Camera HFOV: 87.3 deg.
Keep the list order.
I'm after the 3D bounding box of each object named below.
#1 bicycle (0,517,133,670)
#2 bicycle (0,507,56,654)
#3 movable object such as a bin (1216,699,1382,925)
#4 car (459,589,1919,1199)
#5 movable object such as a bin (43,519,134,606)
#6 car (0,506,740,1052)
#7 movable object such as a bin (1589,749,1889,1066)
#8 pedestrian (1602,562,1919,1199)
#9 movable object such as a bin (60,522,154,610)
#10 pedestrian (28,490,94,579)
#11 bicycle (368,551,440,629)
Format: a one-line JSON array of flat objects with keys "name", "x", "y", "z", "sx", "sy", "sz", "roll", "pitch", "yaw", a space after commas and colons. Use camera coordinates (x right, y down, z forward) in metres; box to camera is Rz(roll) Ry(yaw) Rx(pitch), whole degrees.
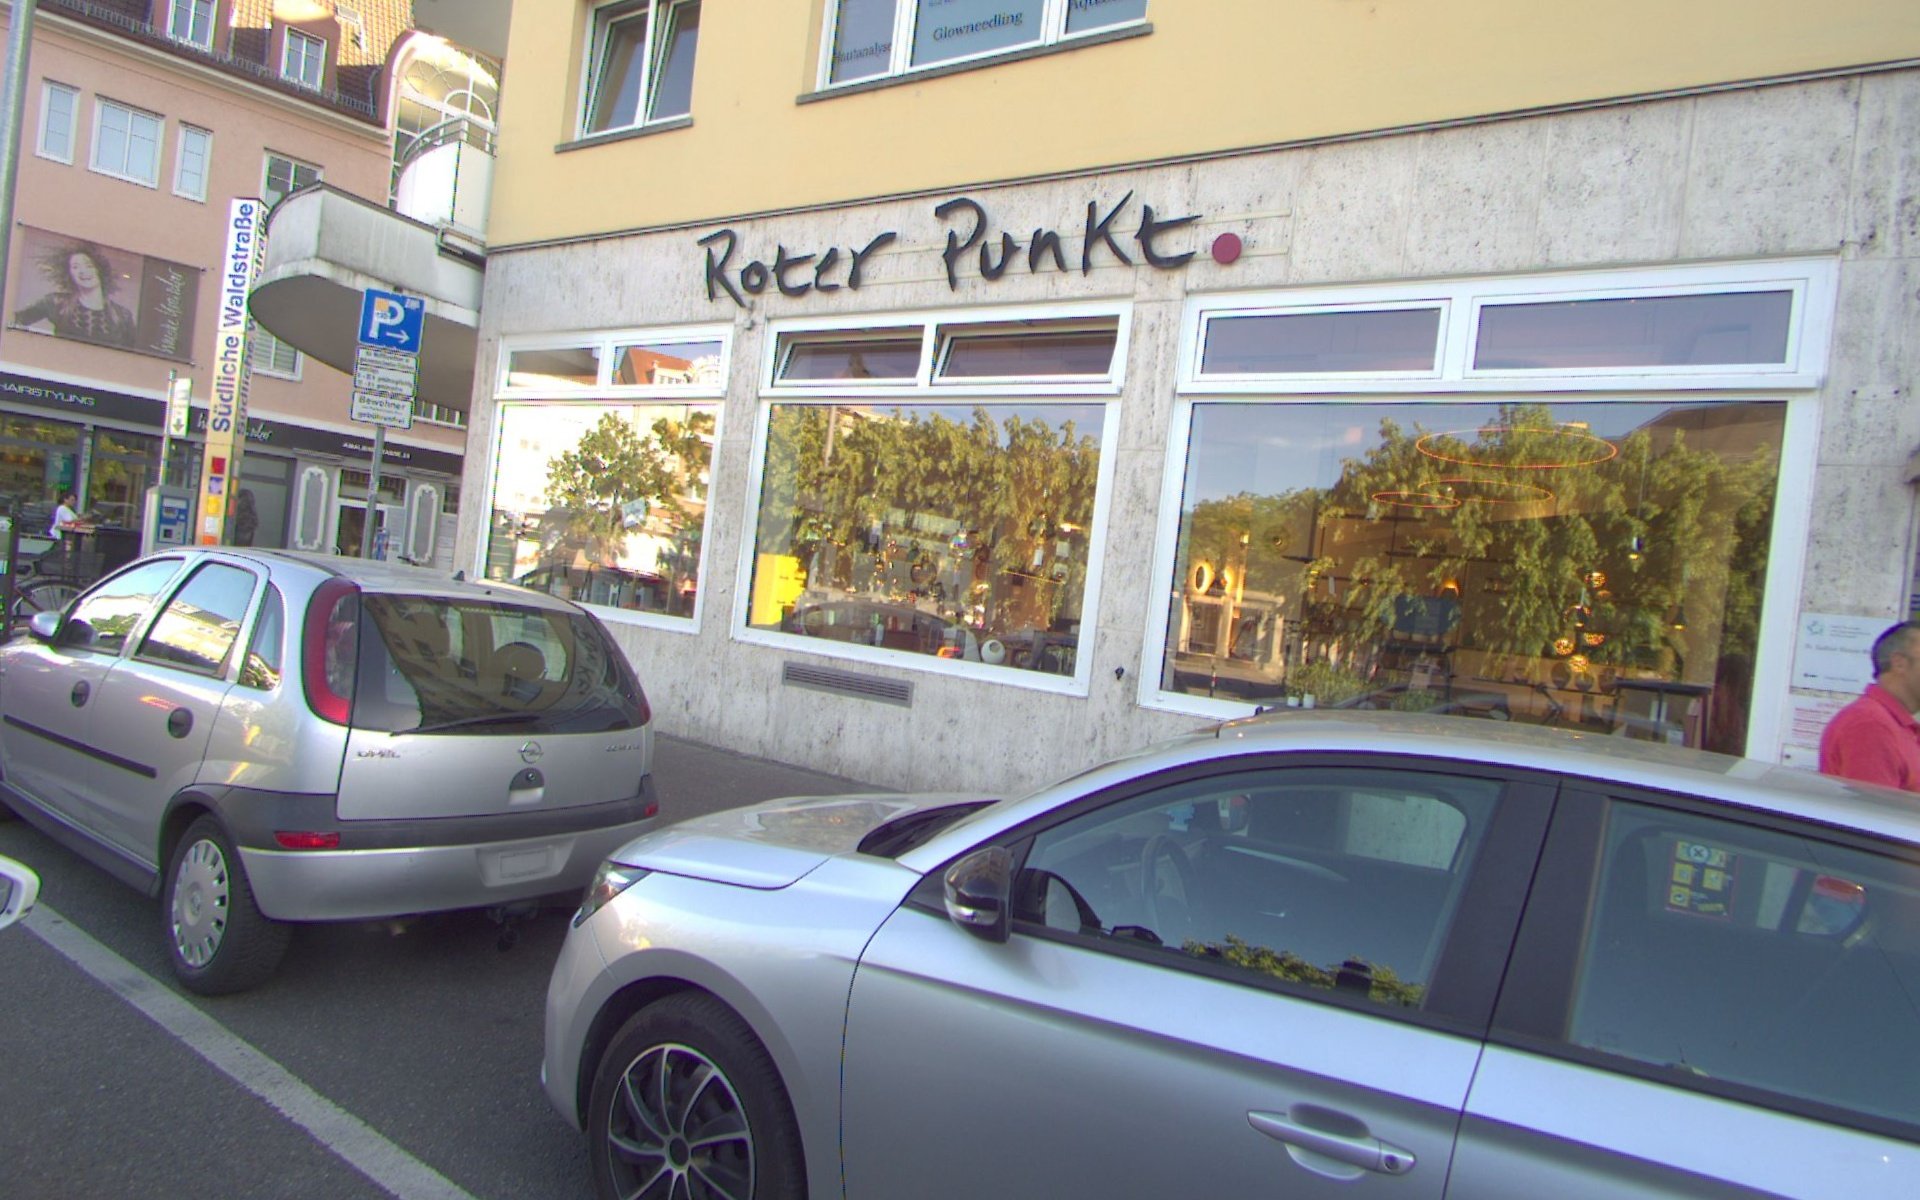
[{"name": "bicycle", "x": -8.091, "y": -0.084, "z": 8.226, "sx": 0.681, "sy": 1.208, "sz": 1.885, "roll": 8, "pitch": 1, "yaw": 37}, {"name": "bicycle", "x": -9.095, "y": -0.235, "z": 8.700, "sx": 0.778, "sy": 1.284, "sz": 1.721, "roll": 7, "pitch": 1, "yaw": 37}, {"name": "movable object such as a bin", "x": 1.867, "y": 1.099, "z": 5.490, "sx": 0.592, "sy": 1.041, "sz": 0.811, "roll": 7, "pitch": 0, "yaw": 32}, {"name": "car", "x": 0.793, "y": 0.926, "z": 2.307, "sx": 3.643, "sy": 1.415, "sz": 1.653, "roll": 7, "pitch": -1, "yaw": 30}, {"name": "movable object such as a bin", "x": -12.423, "y": -0.527, "z": 14.347, "sx": 0.617, "sy": 1.105, "sz": 0.734, "roll": 6, "pitch": -1, "yaw": 34}, {"name": "car", "x": -2.927, "y": 0.479, "z": 4.459, "sx": 3.583, "sy": 1.397, "sz": 1.616, "roll": 7, "pitch": -2, "yaw": 32}, {"name": "movable object such as a bin", "x": 3.401, "y": 1.287, "z": 4.498, "sx": 0.879, "sy": 1.066, "sz": 0.751, "roll": 7, "pitch": 0, "yaw": 32}, {"name": "pedestrian", "x": 2.837, "y": 0.842, "z": 3.272, "sx": 0.994, "sy": 1.807, "sz": 0.862, "roll": 7, "pitch": 2, "yaw": 40}, {"name": "movable object such as a bin", "x": -11.887, "y": -0.468, "z": 14.026, "sx": 0.617, "sy": 1.105, "sz": 0.754, "roll": 6, "pitch": -1, "yaw": 34}, {"name": "pedestrian", "x": -17.195, "y": -1.244, "z": 19.264, "sx": 0.743, "sy": 1.571, "sz": 0.692, "roll": 7, "pitch": 0, "yaw": -37}, {"name": "bicycle", "x": -9.980, "y": -0.212, "z": 18.017, "sx": 0.656, "sy": 1.213, "sz": 2.187, "roll": 7, "pitch": -1, "yaw": -39}]
